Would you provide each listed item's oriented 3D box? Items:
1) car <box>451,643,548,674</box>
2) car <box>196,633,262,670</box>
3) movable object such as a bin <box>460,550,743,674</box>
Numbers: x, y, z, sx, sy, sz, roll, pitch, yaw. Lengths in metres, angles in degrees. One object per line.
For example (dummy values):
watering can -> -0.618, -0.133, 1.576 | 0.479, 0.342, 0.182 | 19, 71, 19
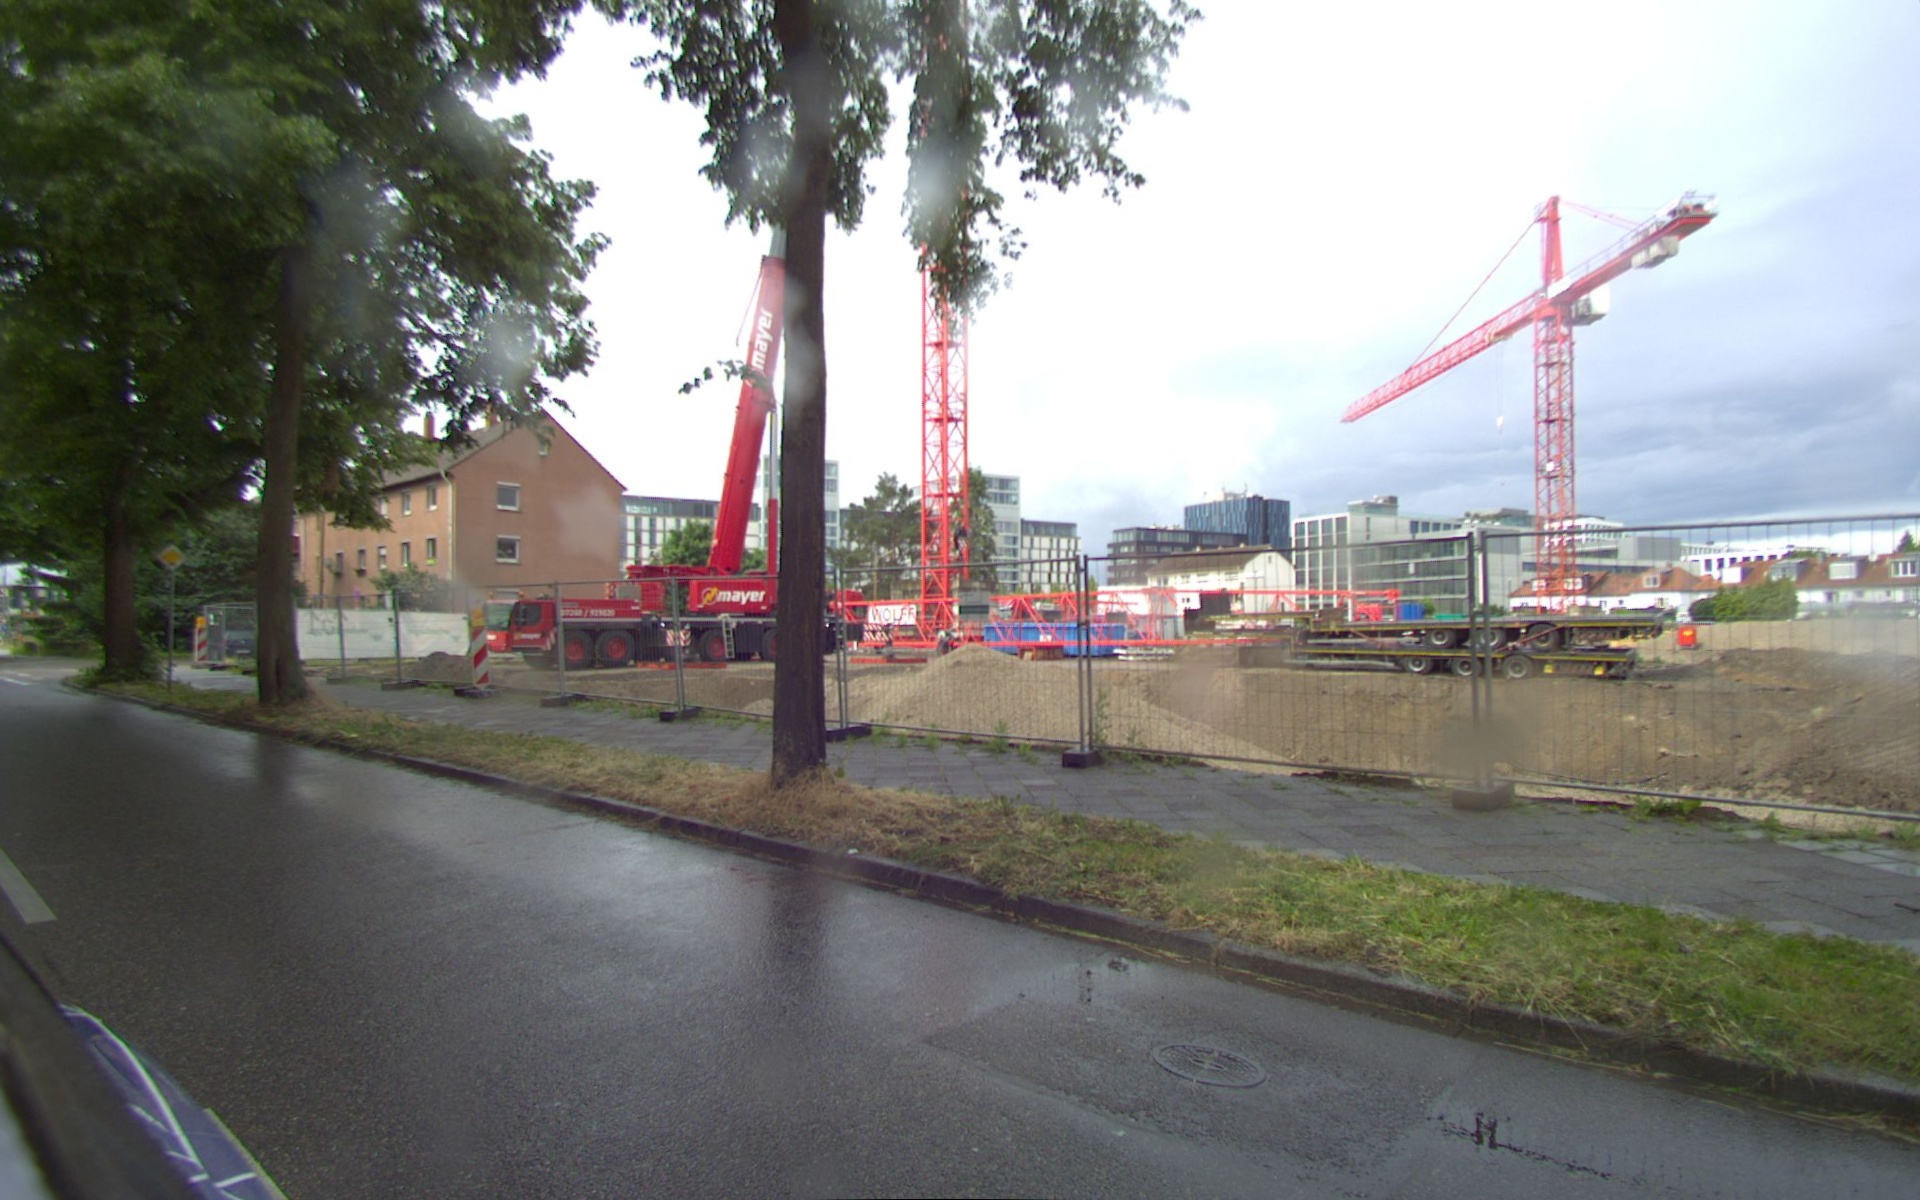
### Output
car -> -22.099, 2.781, 48.719 | 1.721, 1.424, 4.026 | -1, -2, 29
car -> -32.210, 2.242, 44.551 | 3.869, 1.431, 1.607 | 0, 0, 42
movable object such as a bin -> -13.308, 0.514, 38.481 | 3.366, 4.147, 9.704 | -3, -3, 43
